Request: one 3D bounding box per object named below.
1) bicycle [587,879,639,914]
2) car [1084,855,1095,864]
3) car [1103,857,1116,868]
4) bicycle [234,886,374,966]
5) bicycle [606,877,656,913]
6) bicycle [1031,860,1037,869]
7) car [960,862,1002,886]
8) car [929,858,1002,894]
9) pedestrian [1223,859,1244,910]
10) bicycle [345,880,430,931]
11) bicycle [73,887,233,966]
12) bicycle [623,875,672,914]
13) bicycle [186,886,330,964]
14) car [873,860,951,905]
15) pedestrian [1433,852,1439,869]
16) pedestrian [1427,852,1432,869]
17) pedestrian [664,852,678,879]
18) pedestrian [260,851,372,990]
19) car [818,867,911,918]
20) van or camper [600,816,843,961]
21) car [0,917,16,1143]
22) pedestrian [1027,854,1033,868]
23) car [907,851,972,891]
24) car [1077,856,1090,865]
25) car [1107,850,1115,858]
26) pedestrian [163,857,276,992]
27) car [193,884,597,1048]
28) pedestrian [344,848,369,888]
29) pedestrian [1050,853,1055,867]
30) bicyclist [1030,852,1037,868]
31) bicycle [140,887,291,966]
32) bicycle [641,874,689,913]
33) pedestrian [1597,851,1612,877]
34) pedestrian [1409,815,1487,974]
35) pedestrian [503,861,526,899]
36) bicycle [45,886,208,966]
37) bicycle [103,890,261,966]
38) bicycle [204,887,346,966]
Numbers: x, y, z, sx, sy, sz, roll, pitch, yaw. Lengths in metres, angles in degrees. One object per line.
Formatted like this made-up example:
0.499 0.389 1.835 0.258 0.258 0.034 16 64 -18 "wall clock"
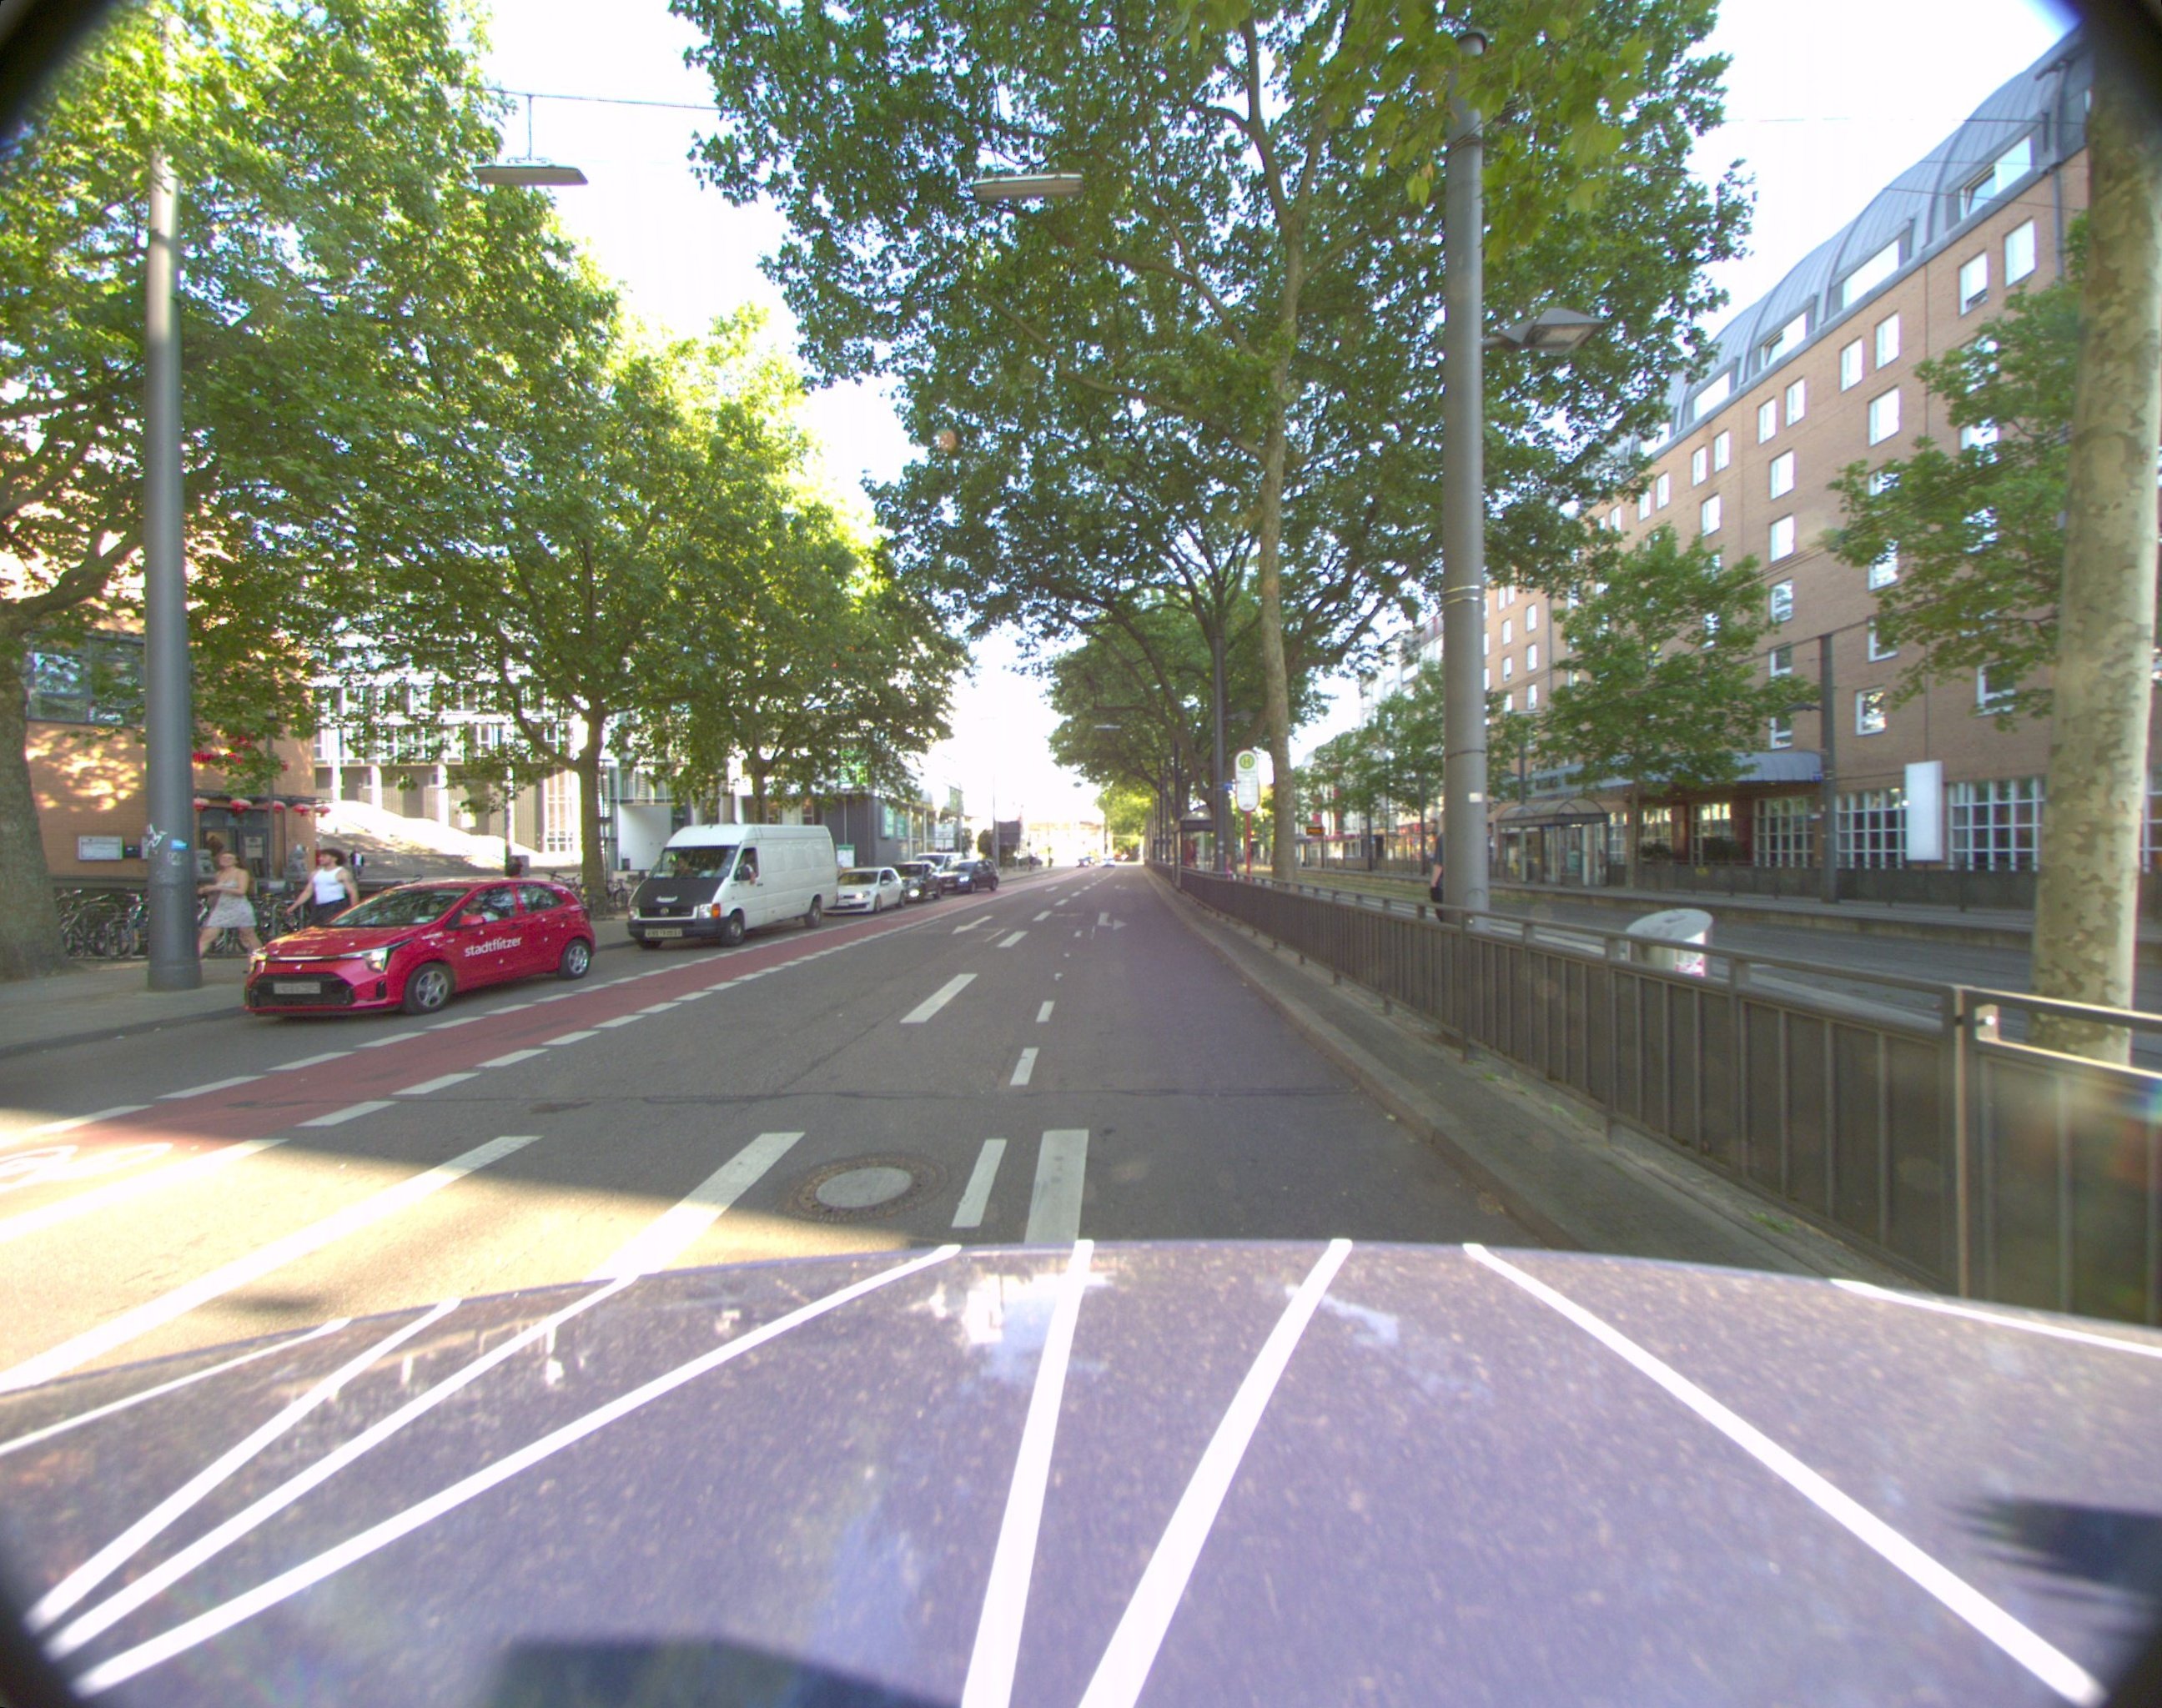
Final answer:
-15.223 1.364 24.781 0.516 1.027 1.850 0 0 1 "bicycle"
1.476 0.995 135.970 1.801 1.438 4.001 0 0 3 "car"
3.971 1.158 104.743 1.733 1.432 4.000 -1 0 2 "car"
-13.323 1.193 13.115 0.482 1.187 1.850 0 0 1 "bicycle"
-14.662 1.320 24.805 0.522 1.088 1.797 0 0 1 "bicycle"
-5.089 1.121 82.078 0.580 0.879 1.671 -1 0 1 "bicycle"
-6.023 1.176 46.297 1.801 1.369 4.001 0 0 3 "car"
-5.541 1.015 37.055 1.964 1.610 4.335 -1 0 14 "car"
3.928 0.777 19.607 0.500 1.308 0.419 0 1 9 "pedestrian"
-17.827 1.286 19.579 0.517 1.187 1.790 0 0 1 "bicycle"
-15.929 1.203 13.123 0.458 1.187 1.850 0 0 1 "bicycle"
-14.118 1.297 24.807 0.495 1.187 1.850 0 0 1 "bicycle"
-14.331 1.200 13.311 0.484 1.187 1.850 0 0 1 "bicycle"
-6.717 1.083 30.581 1.818 1.610 4.229 -1 0 5 "car"
32.057 0.615 68.627 0.438 1.511 0.659 0 1 23 "pedestrian"
31.549 0.605 68.808 0.438 1.497 0.659 0 1 23 "pedestrian"
-32.894 0.909 60.974 0.836 2.144 0.858 -1 1 -23 "pedestrian"
-10.619 0.894 10.576 0.643 1.834 0.814 3 0 -4 "pedestrian"
-6.974 1.186 24.924 1.682 1.420 4.001 -1 0 3 "car"
-7.545 0.620 17.053 1.998 2.563 6.575 -2 0 3 "van or camper"
-7.998 1.173 2.934 1.743 1.476 4.251 -1 0 0 "car"
-5.808 0.801 86.175 0.611 1.644 0.583 -1 1 1 "pedestrian"
-7.468 0.861 40.567 1.965 1.983 4.960 -1 0 7 "car"
0.370 0.982 119.412 1.801 1.369 4.001 0 0 3 "car"
8.103 -0.052 205.656 1.998 2.002 4.001 0 0 4 "car"
-11.788 0.928 10.422 0.648 1.766 0.764 -1 0 -5 "pedestrian"
-7.950 1.177 9.348 1.606 1.449 3.651 -1 0 0 "car"
-37.281 0.707 39.092 0.878 2.025 0.584 -1 1 -43 "pedestrian"
-4.000 0.809 106.466 0.676 1.853 0.741 -2 1 1 "pedestrian"
-5.099 0.673 81.862 0.673 1.707 0.715 -1 1 1 "bicyclist"
-14.847 1.199 13.112 0.447 1.187 1.850 0 0 1 "bicycle"
-13.575 1.268 24.828 0.522 1.187 1.850 0 0 1 "bicycle"
28.968 0.553 42.057 0.519 1.427 0.516 0 1 4 "pedestrian"
4.485 0.468 9.312 0.606 1.873 0.622 -2 3 -11 "pedestrian"
-23.153 1.055 31.055 0.719 1.549 0.639 -1 1 -35 "pedestrian"
-16.392 1.197 13.125 0.435 1.187 1.850 0 0 1 "bicycle"
-15.430 1.236 13.120 0.485 1.118 1.850 0 0 1 "bicycle"
-13.825 1.204 13.121 0.448 1.187 1.850 0 0 1 "bicycle"
